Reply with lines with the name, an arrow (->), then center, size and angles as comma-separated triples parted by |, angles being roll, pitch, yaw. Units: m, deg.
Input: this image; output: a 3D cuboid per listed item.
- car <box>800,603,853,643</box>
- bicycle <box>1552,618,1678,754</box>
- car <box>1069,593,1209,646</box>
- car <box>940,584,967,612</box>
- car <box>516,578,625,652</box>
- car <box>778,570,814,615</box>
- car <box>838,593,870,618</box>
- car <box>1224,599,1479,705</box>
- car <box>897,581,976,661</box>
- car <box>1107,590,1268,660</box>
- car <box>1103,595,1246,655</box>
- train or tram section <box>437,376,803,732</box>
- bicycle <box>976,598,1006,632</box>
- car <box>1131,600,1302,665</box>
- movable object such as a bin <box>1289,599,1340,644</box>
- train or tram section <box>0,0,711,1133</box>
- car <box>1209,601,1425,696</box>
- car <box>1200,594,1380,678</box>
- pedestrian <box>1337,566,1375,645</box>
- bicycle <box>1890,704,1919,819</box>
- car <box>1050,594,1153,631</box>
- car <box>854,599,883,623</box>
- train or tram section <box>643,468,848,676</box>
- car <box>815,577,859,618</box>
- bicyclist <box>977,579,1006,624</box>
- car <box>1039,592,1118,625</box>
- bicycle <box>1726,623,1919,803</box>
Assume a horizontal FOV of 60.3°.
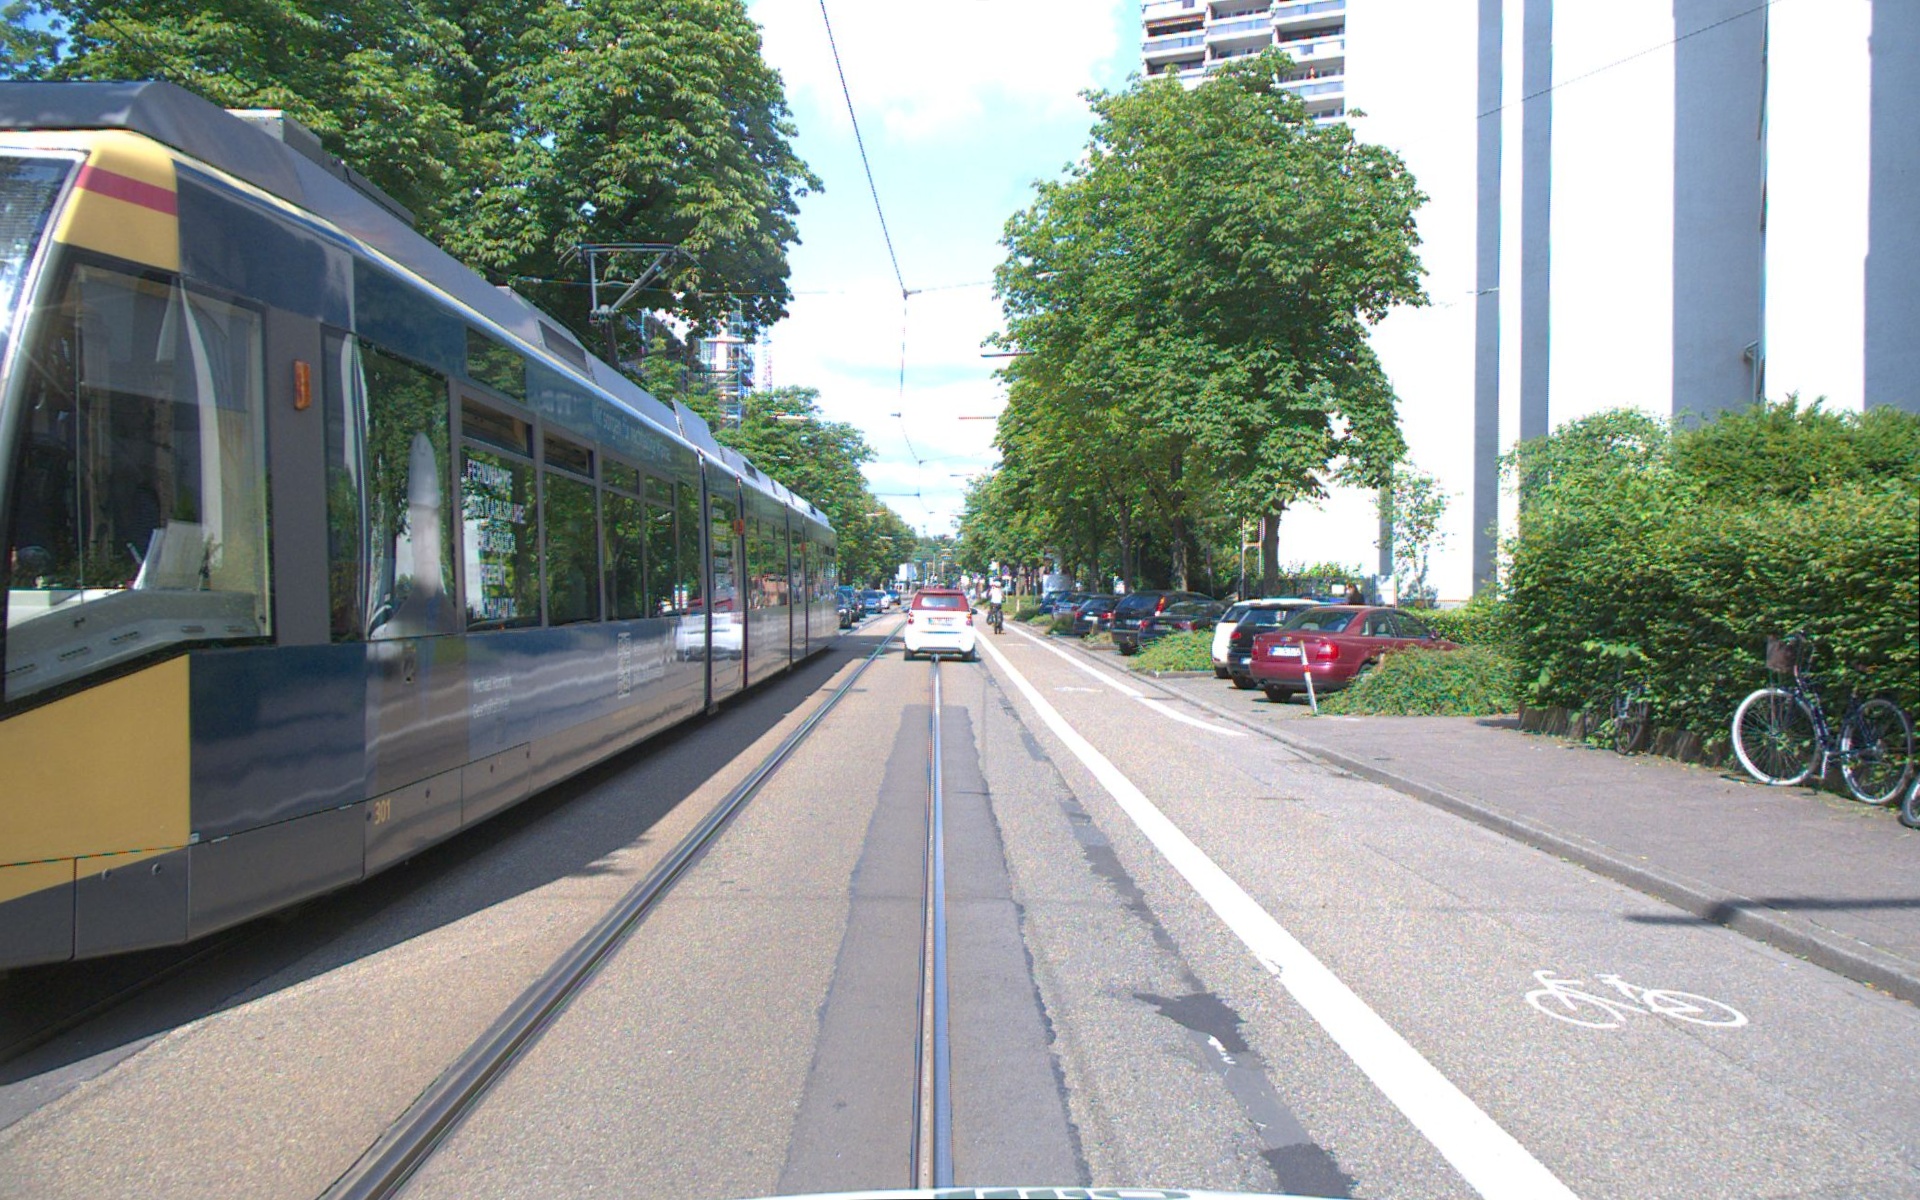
car -> -5.039, 0.846, 62.971 | 1.763, 1.412, 4.425 | 0, 0, -1
bicycle -> 5.977, 0.747, 15.191 | 0.274, 1.128, 2.010 | -3, 0, -1
car -> 5.568, 0.608, 51.103 | 1.997, 1.467, 4.506 | 2, -1, 43
car -> -0.408, -0.136, 102.819 | 1.631, 1.653, 3.620 | 1, 0, -1
car -> -9.678, 0.358, 41.431 | 1.715, 1.694, 4.719 | 2, 0, -2
car -> -10.285, -0.465, 104.279 | 1.733, 2.685, 5.321 | 2, 0, -1
car -> -6.666, 0.346, 104.513 | 1.764, 1.534, 4.535 | 1, 0, -1
car -> 5.964, 0.712, 24.950 | 4.128, 1.448, 1.837 | 0, 0, -44
car -> -0.525, 0.456, 37.019 | 1.631, 1.653, 3.620 | 2, 0, -1
car -> 5.686, 0.633, 41.160 | 3.968, 1.602, 1.875 | 2, 0, -43
car -> 5.810, 0.639, 44.537 | 1.698, 1.468, 4.047 | 3, 3, 44
train or tram section -> -3.896, -0.450, 22.055 | 2.599, 3.448, 11.470 | -1, 0, -1
bicycle -> 1.104, 0.528, 58.445 | 0.856, 1.145, 2.137 | 2, 0, 5
car -> 5.978, 0.763, 38.230 | 1.873, 1.373, 4.147 | 2, 0, 44
movable object such as a bin -> 10.945, 0.654, 51.080 | 1.249, 1.341, 1.325 | 1, 0, -1
train or tram section -> -3.728, -0.378, 10.255 | 2.599, 3.496, 12.312 | -1, 0, -1
car -> 6.127, 0.780, 28.127 | 3.969, 1.474, 1.672 | 1, 0, -44
car -> 6.340, 0.661, 31.522 | 1.509, 1.486, 3.974 | 1, 0, 43
pedestrian -> 9.672, 0.124, 40.439 | 0.744, 1.906, 1.003 | 1, 0, 4
bicycle -> 6.092, 1.007, 9.764 | 0.274, 0.689, 1.559 | -3, 0, -1
car -> 5.816, 0.507, 67.665 | 4.201, 1.445, 1.699 | 1, 1, -39
car -> -5.859, 0.704, 106.385 | 1.737, 1.441, 3.851 | -2, 0, -2
train or tram section -> -4.083, -0.459, 34.808 | 2.599, 3.414, 14.105 | -1, 0, -1
car -> -5.617, -0.108, 76.047 | 1.789, 1.757, 4.389 | 2, 0, -2
bicyclist -> 1.117, 0.043, 58.589 | 0.871, 1.555, 1.085 | 2, 0, 5
car -> 5.584, 0.383, 77.486 | 1.588, 1.512, 3.974 | 0, 0, 43
bicycle -> 6.052, 0.743, 11.674 | 0.274, 1.128, 2.010 | -3, 0, -1
